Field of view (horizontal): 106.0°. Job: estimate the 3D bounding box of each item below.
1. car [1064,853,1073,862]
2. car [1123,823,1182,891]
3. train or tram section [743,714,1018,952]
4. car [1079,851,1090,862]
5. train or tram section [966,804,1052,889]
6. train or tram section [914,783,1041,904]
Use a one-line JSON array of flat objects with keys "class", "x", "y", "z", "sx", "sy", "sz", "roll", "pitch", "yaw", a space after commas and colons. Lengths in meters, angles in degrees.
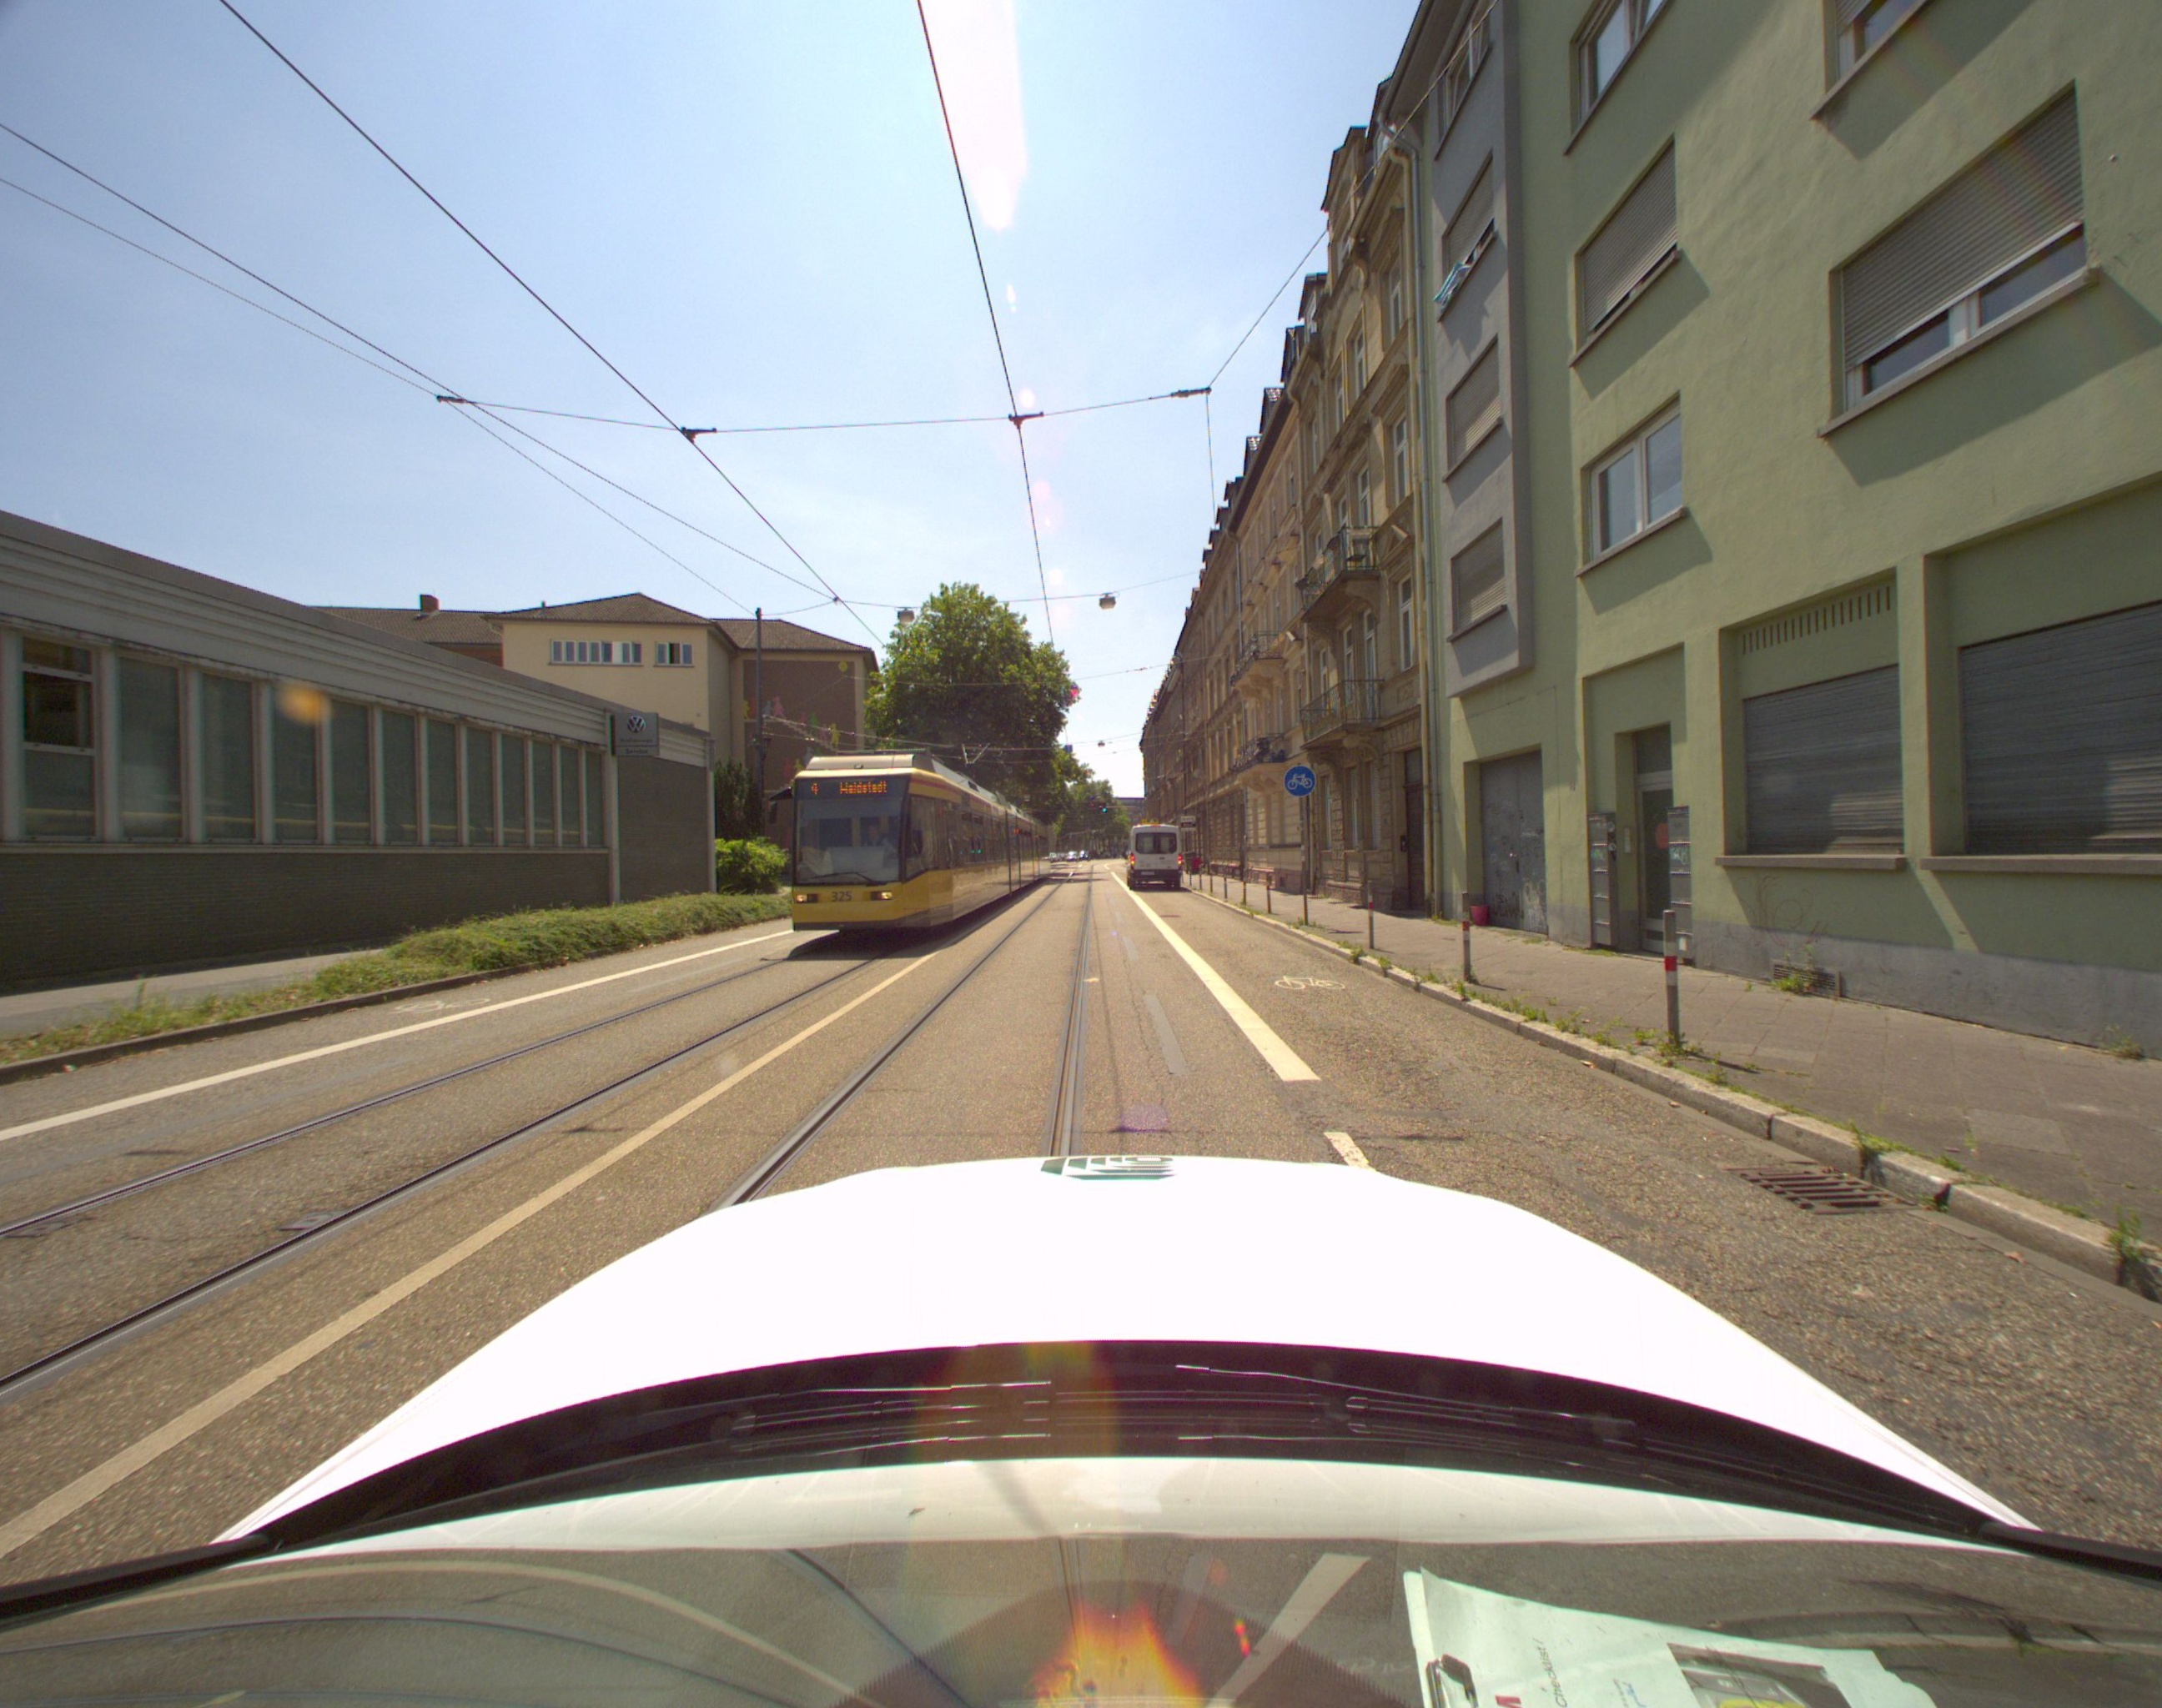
[{"class": "car", "x": -2.032, "y": 0.563, "z": 134.337, "sx": 1.524, "sy": 1.408, "sz": 3.488, "roll": -1, "pitch": 0, "yaw": -1}, {"class": "car", "x": 2.786, "y": 0.093, "z": 32.803, "sx": 2.059, "sy": 2.501, "sz": 5.457, "roll": -1, "pitch": 0, "yaw": 2}, {"class": "train or tram section", "x": -3.605, "y": -0.352, "z": 19.245, "sx": 2.951, "sy": 3.580, "sz": 13.423, "roll": -2, "pitch": 0, "yaw": 1}, {"class": "car", "x": 0.596, "y": 0.351, "z": 141.422, "sx": 1.669, "sy": 1.860, "sz": 3.997, "roll": -1, "pitch": 0, "yaw": -2}, {"class": "train or tram section", "x": -3.346, "y": -0.337, "z": 41.676, "sx": 2.951, "sy": 3.580, "sz": 13.423, "roll": -2, "pitch": 0, "yaw": 1}, {"class": "train or tram section", "x": -3.471, "y": -0.344, "z": 31.427, "sx": 2.951, "sy": 3.580, "sz": 13.423, "roll": -2, "pitch": 0, "yaw": 1}]
